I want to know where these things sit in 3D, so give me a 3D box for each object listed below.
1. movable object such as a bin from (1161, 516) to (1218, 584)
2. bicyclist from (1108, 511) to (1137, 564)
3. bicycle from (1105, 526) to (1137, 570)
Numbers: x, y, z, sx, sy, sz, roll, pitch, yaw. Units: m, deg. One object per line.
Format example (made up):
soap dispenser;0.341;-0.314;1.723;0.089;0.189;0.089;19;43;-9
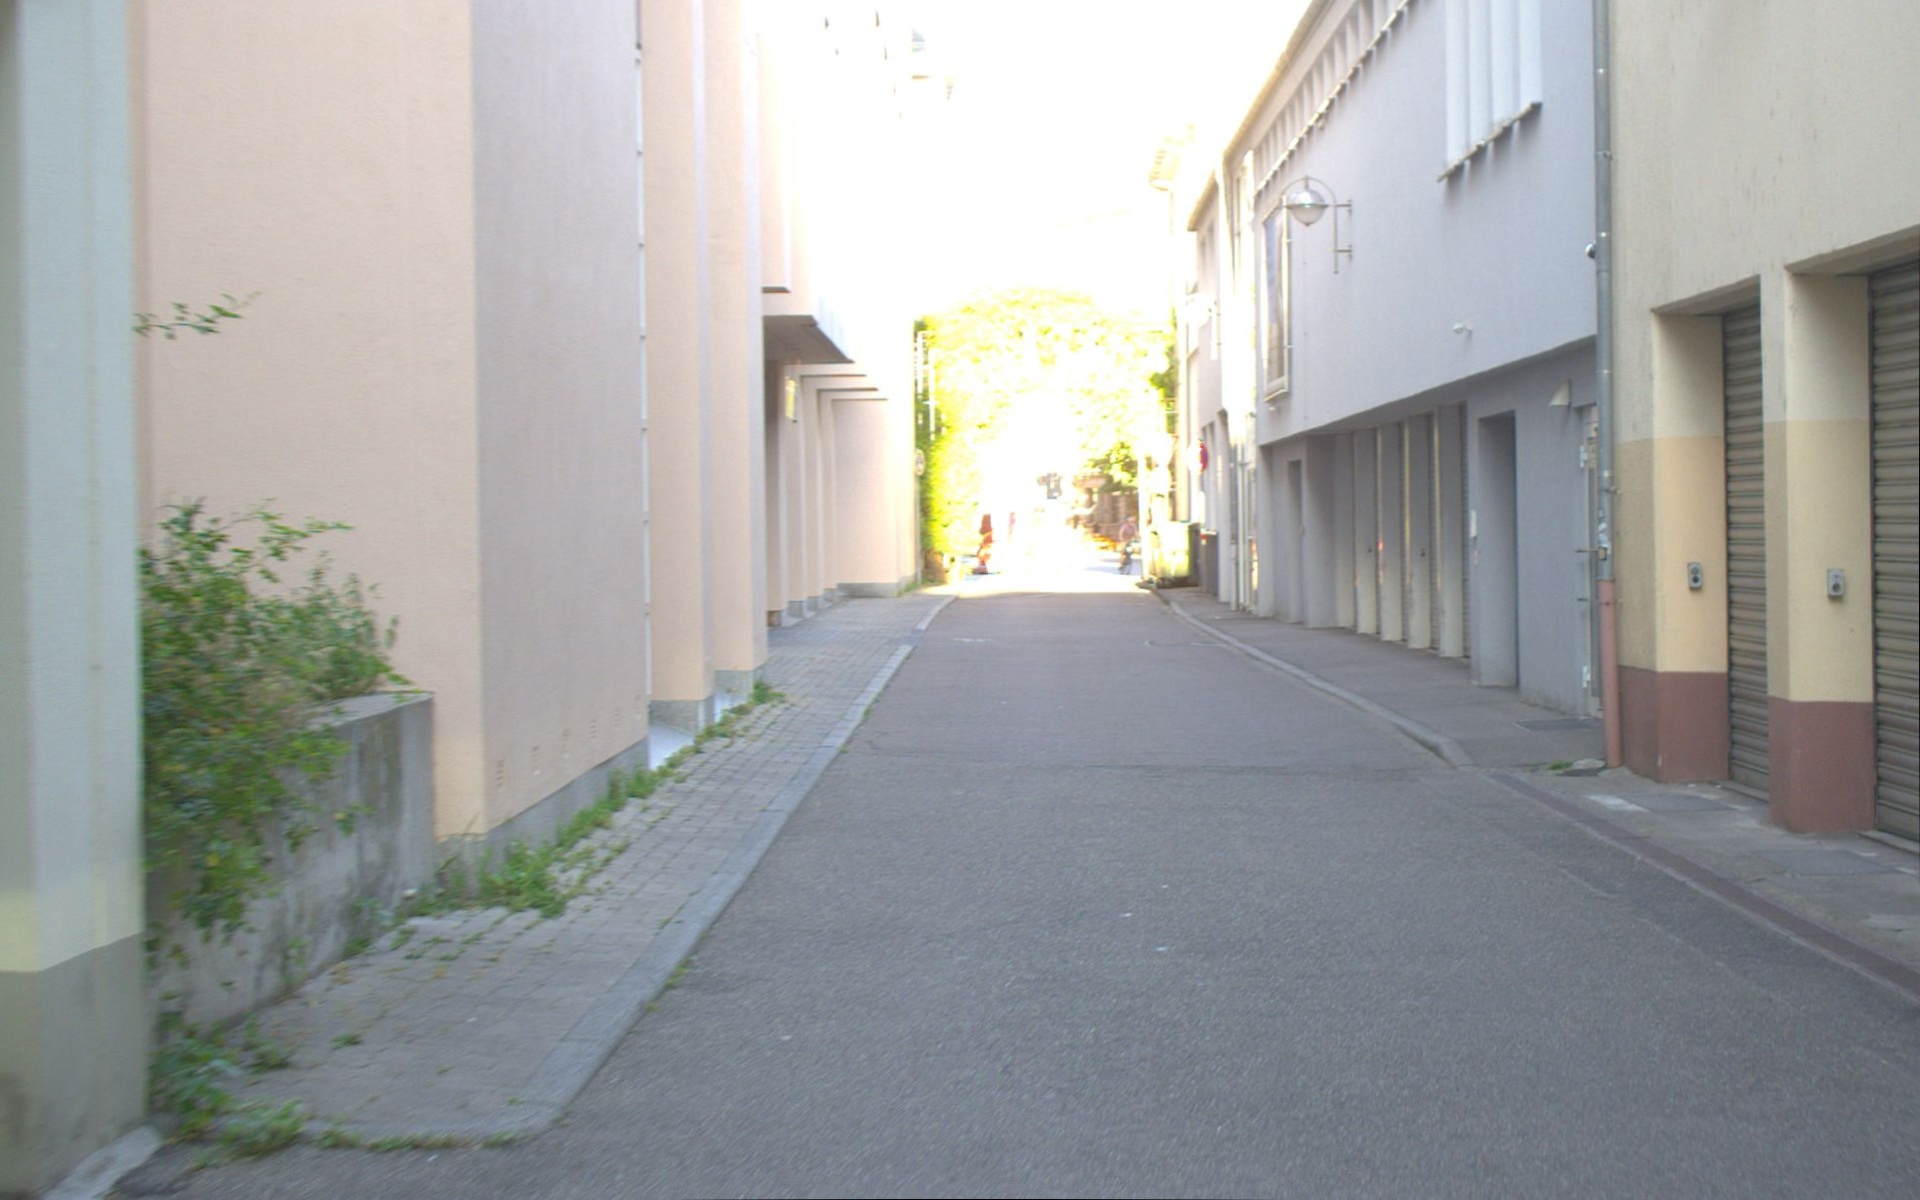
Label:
movable object such as a bin;4.735;-1.034;70.980;0.937;1.362;1.342;-3;1;-4
bicyclist;4.870;-1.881;103.130;0.773;1.560;0.693;1;1;-2
bicycle;4.829;-1.565;103.090;0.773;1.257;2.217;1;1;-2
